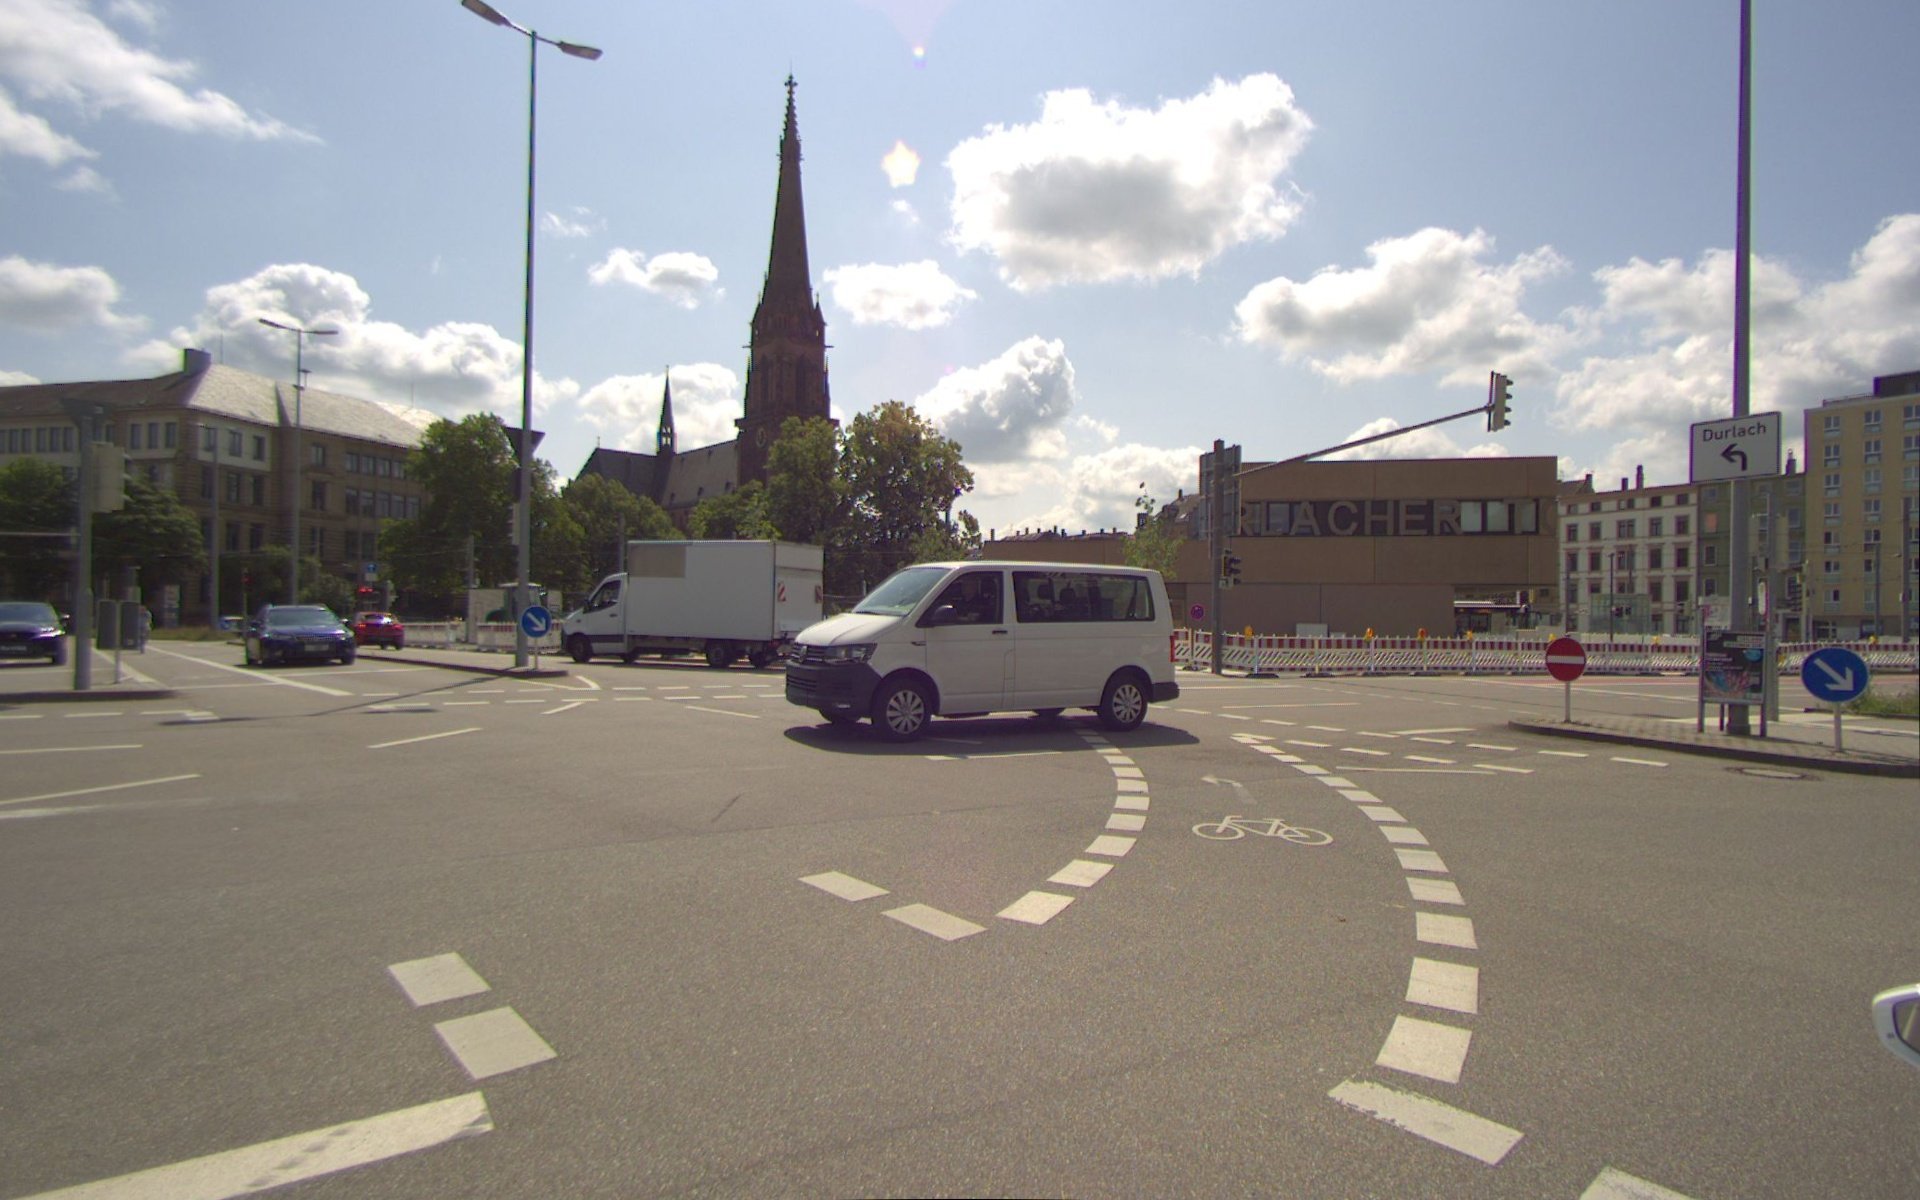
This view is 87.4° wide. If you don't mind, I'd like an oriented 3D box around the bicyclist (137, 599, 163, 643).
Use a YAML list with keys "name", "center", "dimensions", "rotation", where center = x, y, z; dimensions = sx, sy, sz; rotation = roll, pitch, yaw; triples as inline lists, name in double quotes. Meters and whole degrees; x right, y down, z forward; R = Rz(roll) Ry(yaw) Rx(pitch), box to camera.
- name: "bicyclist"
  center: [-29.355, 0.748, 36.406]
  dimensions: [0.661, 1.553, 0.640]
  rotation: [2, 0, -37]

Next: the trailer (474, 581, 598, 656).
- name: "trailer"
  center: [-17.721, 0.768, 42.146]
  dimensions: [4.282, 2.952, 1.999]
  rotation: [2, 0, -3]

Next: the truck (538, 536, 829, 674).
- name: "truck"
  center: [-6.969, 0.046, 25.089]
  dimensions: [7.188, 3.108, 1.999]
  rotation: [2, 0, 22]

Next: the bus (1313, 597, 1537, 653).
- name: "bus"
  center: [27.969, 1.498, 61.013]
  dimensions: [12.018, 2.897, 2.597]
  rotation: [2, 0, 13]

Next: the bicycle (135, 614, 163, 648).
- name: "bicycle"
  center: [-29.330, 1.102, 36.344]
  dimensions: [0.661, 1.161, 2.047]
  rotation: [2, -1, -37]

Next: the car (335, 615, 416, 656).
- name: "car"
  center: [-22.875, 1.373, 39.260]
  dimensions: [1.986, 1.505, 3.856]
  rotation: [1, -2, -43]

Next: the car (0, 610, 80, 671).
- name: "car"
  center: [-24.852, 1.042, 26.746]
  dimensions: [1.984, 1.505, 4.459]
  rotation: [1, -2, -40]

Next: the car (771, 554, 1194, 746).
- name: "car"
  center: [0.355, 0.548, 12.029]
  dimensions: [4.811, 1.919, 1.872]
  rotation: [1, -1, -30]

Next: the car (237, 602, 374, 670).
- name: "car"
  center: [-15.979, 0.847, 24.435]
  dimensions: [1.986, 1.505, 4.608]
  rotation: [1, -2, -44]
